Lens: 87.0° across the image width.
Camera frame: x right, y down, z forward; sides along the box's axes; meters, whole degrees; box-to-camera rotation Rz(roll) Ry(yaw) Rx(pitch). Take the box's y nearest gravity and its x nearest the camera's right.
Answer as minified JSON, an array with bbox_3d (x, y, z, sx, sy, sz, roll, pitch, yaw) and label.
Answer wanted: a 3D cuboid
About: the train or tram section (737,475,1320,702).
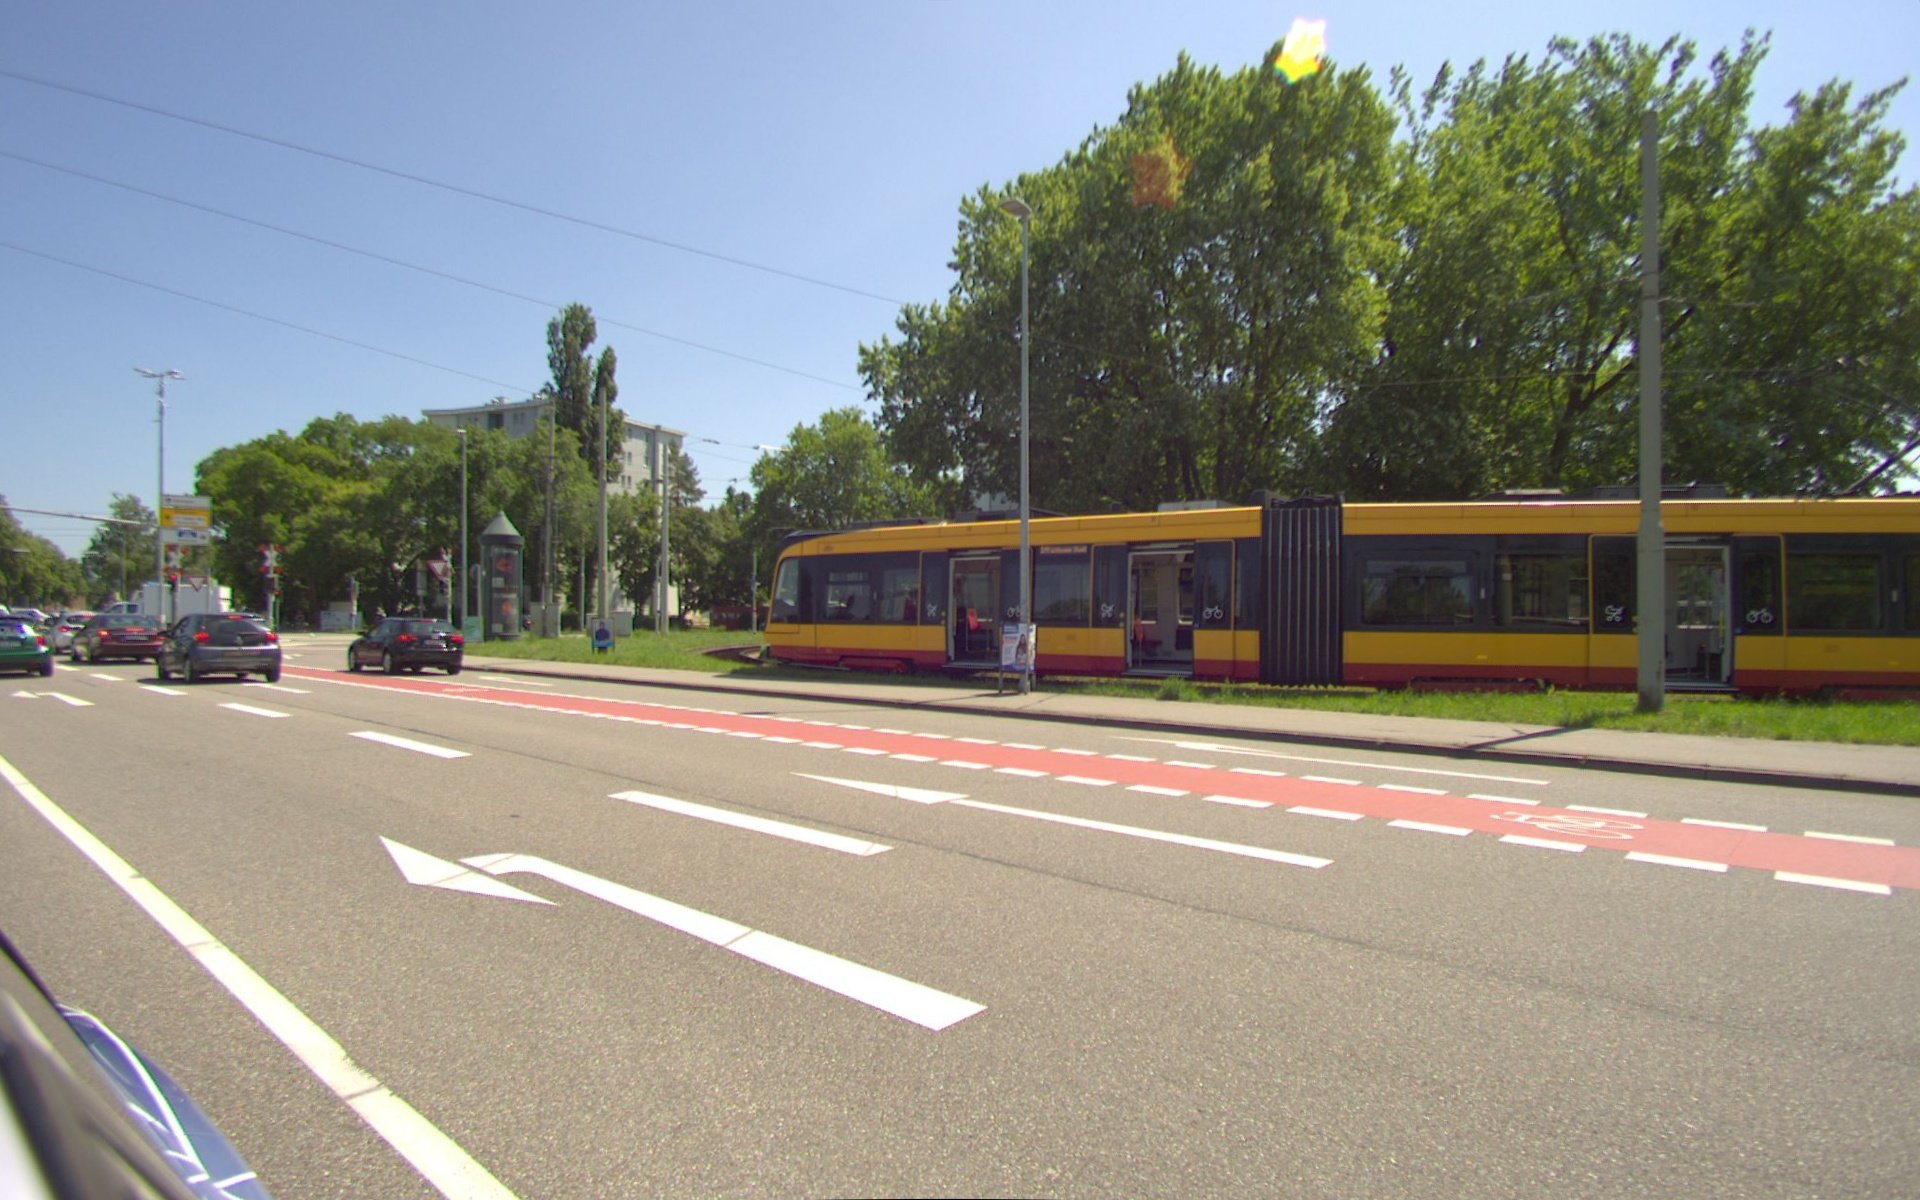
[{"bbox_3d":[0.747,-0.047,21.886,12.966,3.788,2.989,-1,-3,36],"label":"train or tram section"}]

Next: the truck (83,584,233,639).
[{"bbox_3d":[-54.732,0.814,69.295,7.579,3.560,2.596,0,-4,-17],"label":"truck"}]

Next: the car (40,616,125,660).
[{"bbox_3d":[-31.151,1.308,35.893,4.412,1.467,1.772,-1,-2,43],"label":"car"}]

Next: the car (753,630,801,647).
[{"bbox_3d":[-14.721,3.097,81.412,3.582,1.296,1.610,0,-4,-20],"label":"car"}]

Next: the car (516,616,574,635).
[{"bbox_3d":[-31.246,1.921,76.285,3.931,1.296,1.892,0,-4,-20],"label":"car"}]

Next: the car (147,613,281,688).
[{"bbox_3d":[-16.028,1.043,21.690,3.500,1.467,1.605,-1,-3,42],"label":"car"}]

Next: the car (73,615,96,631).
[{"bbox_3d":[-95.410,2.498,110.289,1.783,1.731,4.348,2,-3,-42],"label":"car"}]

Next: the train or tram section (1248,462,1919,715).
[{"bbox_3d":[11.057,-0.132,17.276,11.488,3.788,3.016,0,-2,10],"label":"train or tram section"}]

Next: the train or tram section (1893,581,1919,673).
[{"bbox_3d":[39.489,0.899,36.427,3.001,3.788,14.107,0,-2,18],"label":"train or tram section"}]

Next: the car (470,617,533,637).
[{"bbox_3d":[-32.513,1.915,71.820,3.931,1.296,1.752,0,-4,-20],"label":"car"}]

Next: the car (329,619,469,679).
[{"bbox_3d":[-14.659,1.261,26.351,4.438,1.416,1.725,-2,-5,41],"label":"car"}]

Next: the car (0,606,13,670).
[{"bbox_3d":[-27.976,1.054,28.292,4.829,1.736,1.792,-1,-1,42],"label":"car"}]

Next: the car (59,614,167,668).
[{"bbox_3d":[-24.729,1.161,29.513,4.283,1.468,1.742,-1,-2,41],"label":"car"}]

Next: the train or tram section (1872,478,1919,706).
[{"bbox_3d":[22.863,-0.023,17.913,13.809,3.788,3.035,1,-2,-16],"label":"train or tram section"}]

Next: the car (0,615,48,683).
[{"bbox_3d":[-22.333,1.098,23.306,3.991,1.474,1.704,-1,-1,44],"label":"car"}]
